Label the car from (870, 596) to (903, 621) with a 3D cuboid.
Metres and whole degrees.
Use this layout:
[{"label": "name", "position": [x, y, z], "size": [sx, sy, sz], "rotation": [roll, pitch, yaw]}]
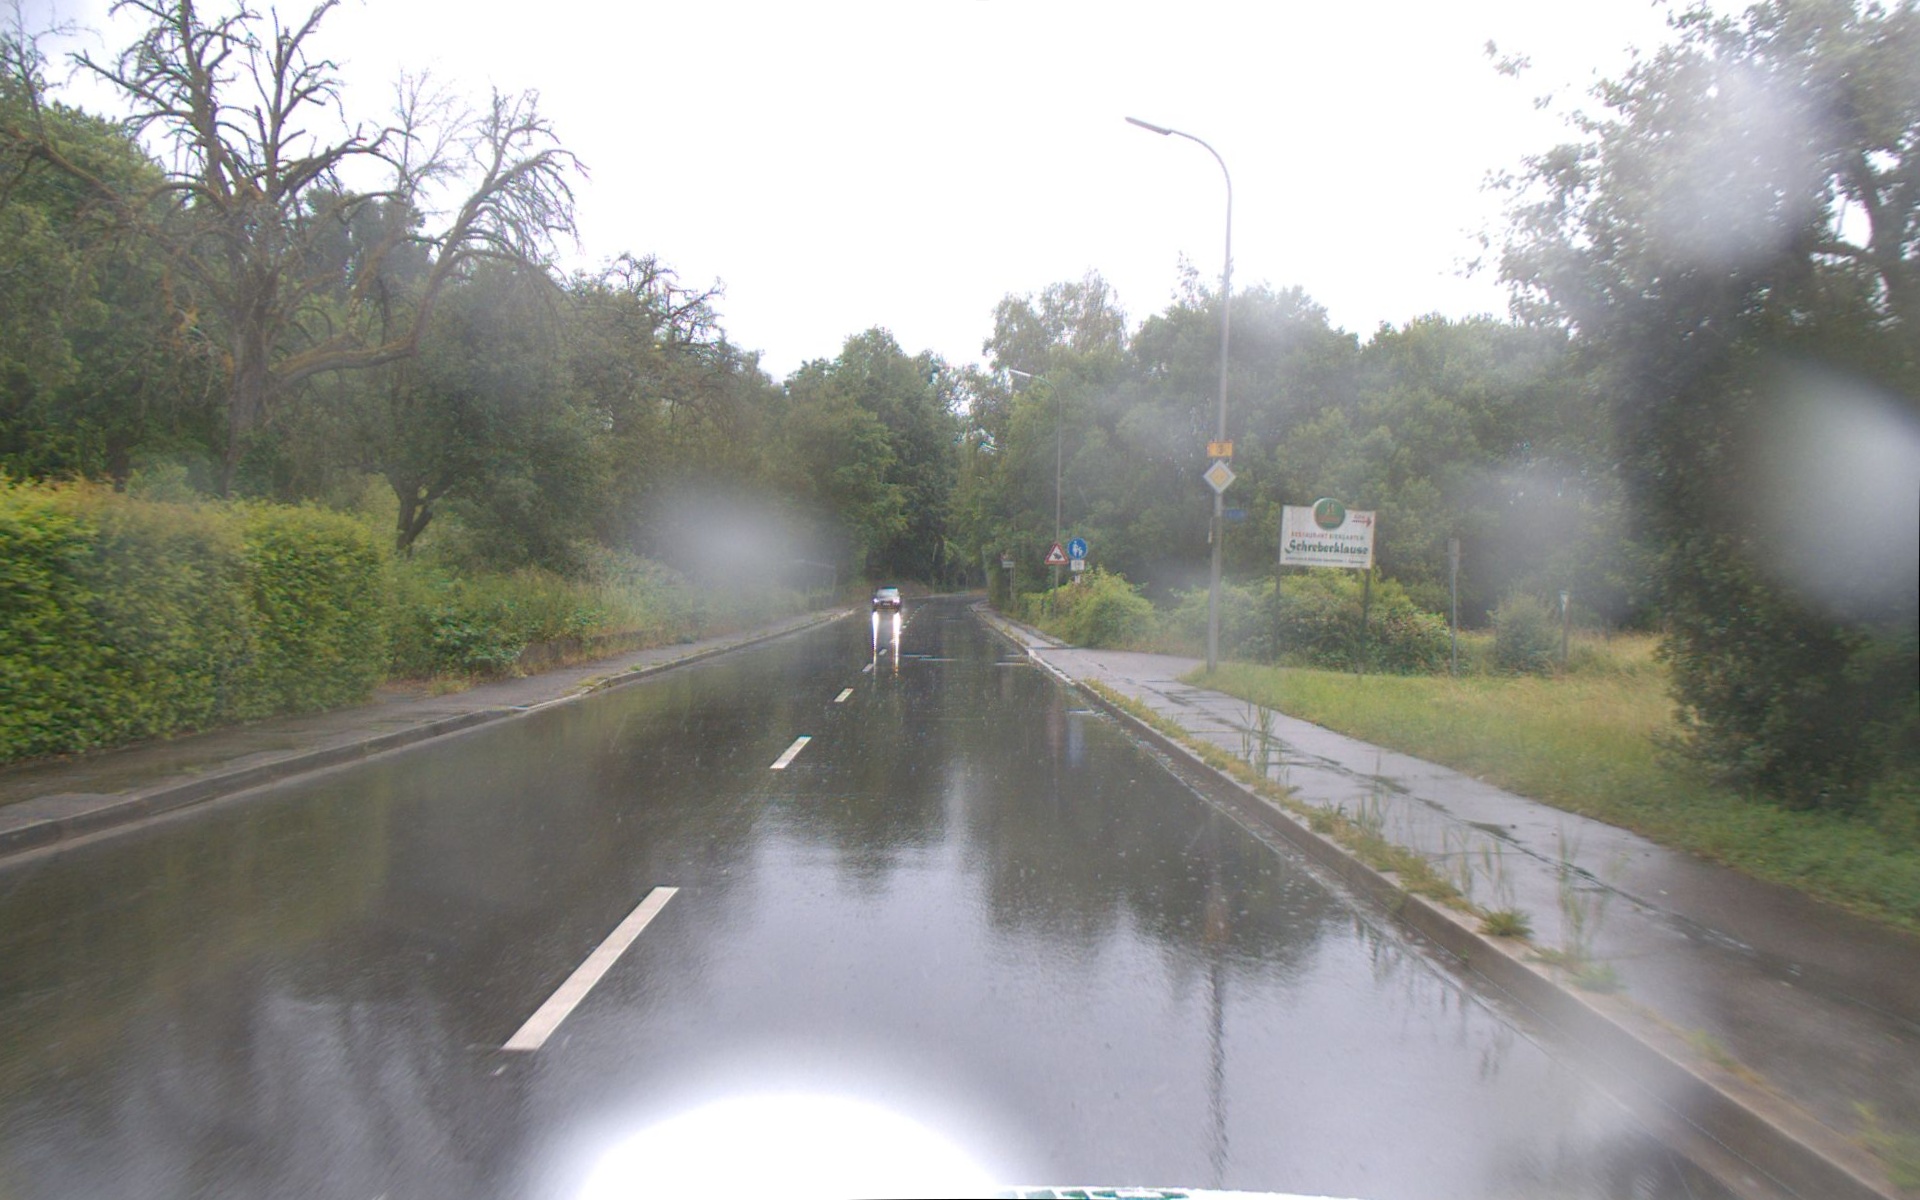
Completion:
[{"label": "car", "position": [-4.706, 0.541, 106.782], "size": [1.953, 1.479, 4.427], "rotation": [2, 1, -1]}]
